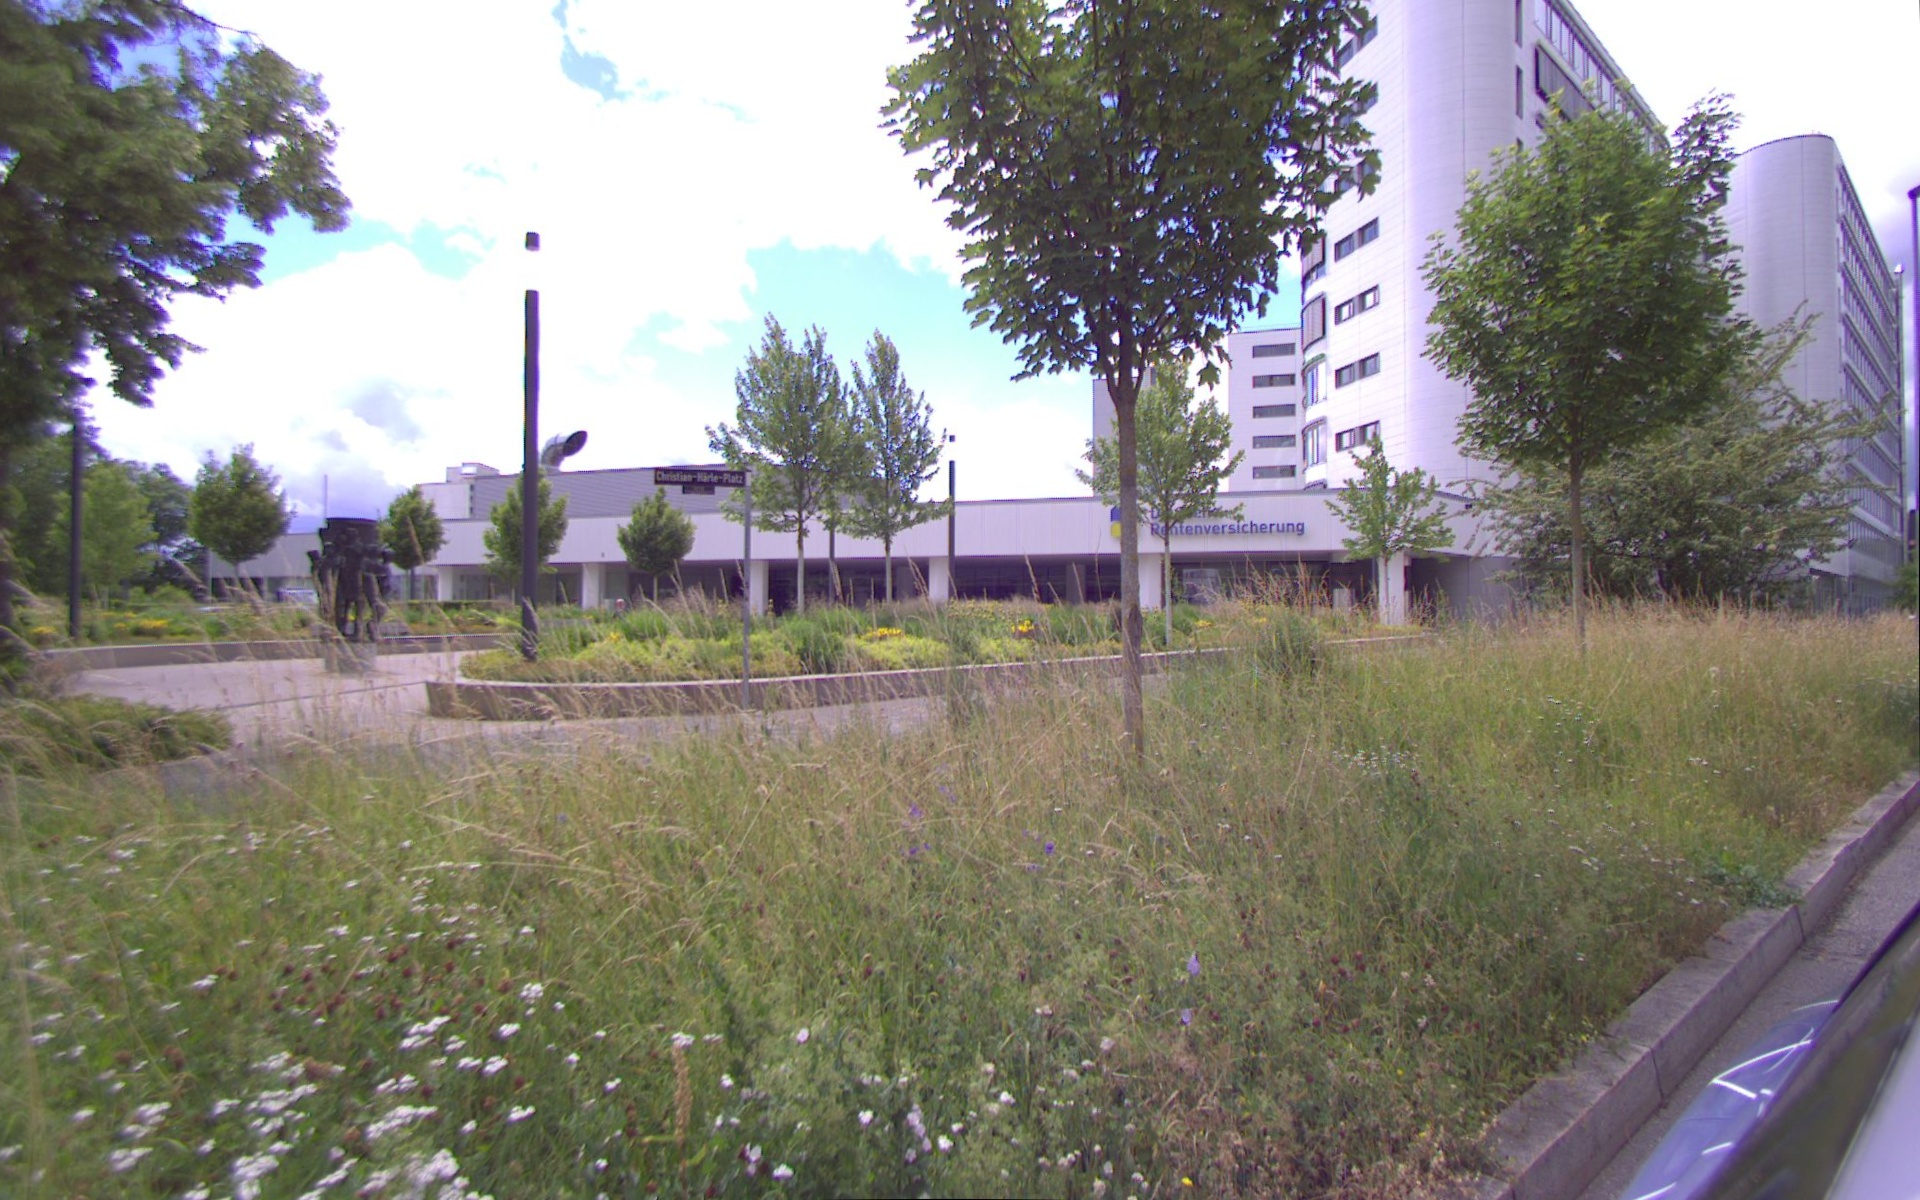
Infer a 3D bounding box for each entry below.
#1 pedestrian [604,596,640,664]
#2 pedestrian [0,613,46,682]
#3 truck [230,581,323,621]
[{"bbox_3d":[-8.317,0.734,24.939,0.756,1.646,0.766,0,0,-12],"label":"pedestrian"},{"bbox_3d":[-17.380,0.859,18.719,0.621,1.238,0.620,1,0,-36],"label":"pedestrian"},{"bbox_3d":[-36.158,0.057,53.575,3.941,2.039,1.991,1,0,14],"label":"truck"}]
